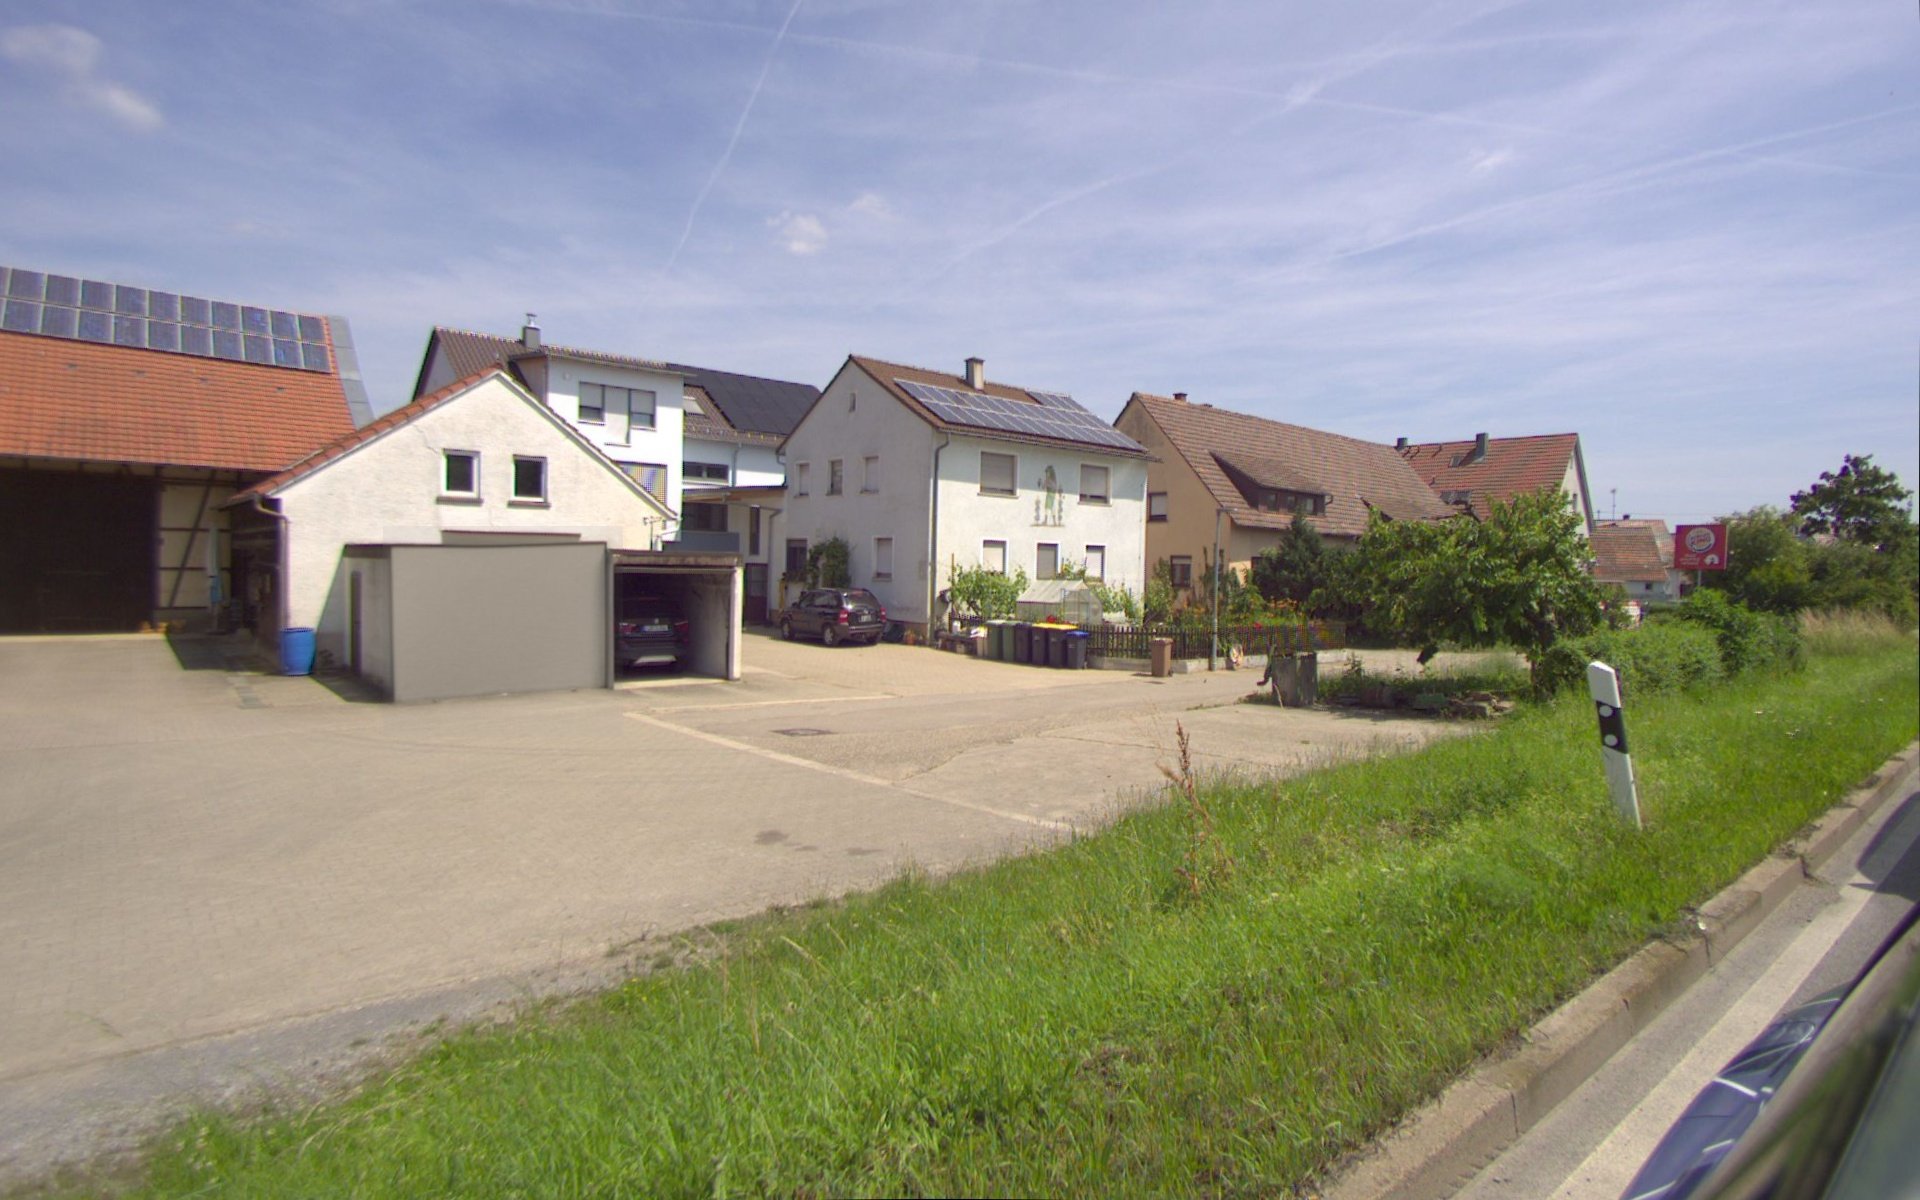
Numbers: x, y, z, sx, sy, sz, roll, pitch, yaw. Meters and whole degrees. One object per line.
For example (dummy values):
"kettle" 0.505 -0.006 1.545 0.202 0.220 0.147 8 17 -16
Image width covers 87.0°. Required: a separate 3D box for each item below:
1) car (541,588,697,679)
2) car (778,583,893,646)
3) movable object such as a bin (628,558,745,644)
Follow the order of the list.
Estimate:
"car" -7.233 0.608 21.230 1.802 1.597 3.996 -1 2 -40
"car" -3.937 0.392 31.528 1.810 1.714 3.959 -1 3 -38
"movable object such as a bin" -8.218 -0.005 30.207 2.041 2.372 3.720 1 1 -38
